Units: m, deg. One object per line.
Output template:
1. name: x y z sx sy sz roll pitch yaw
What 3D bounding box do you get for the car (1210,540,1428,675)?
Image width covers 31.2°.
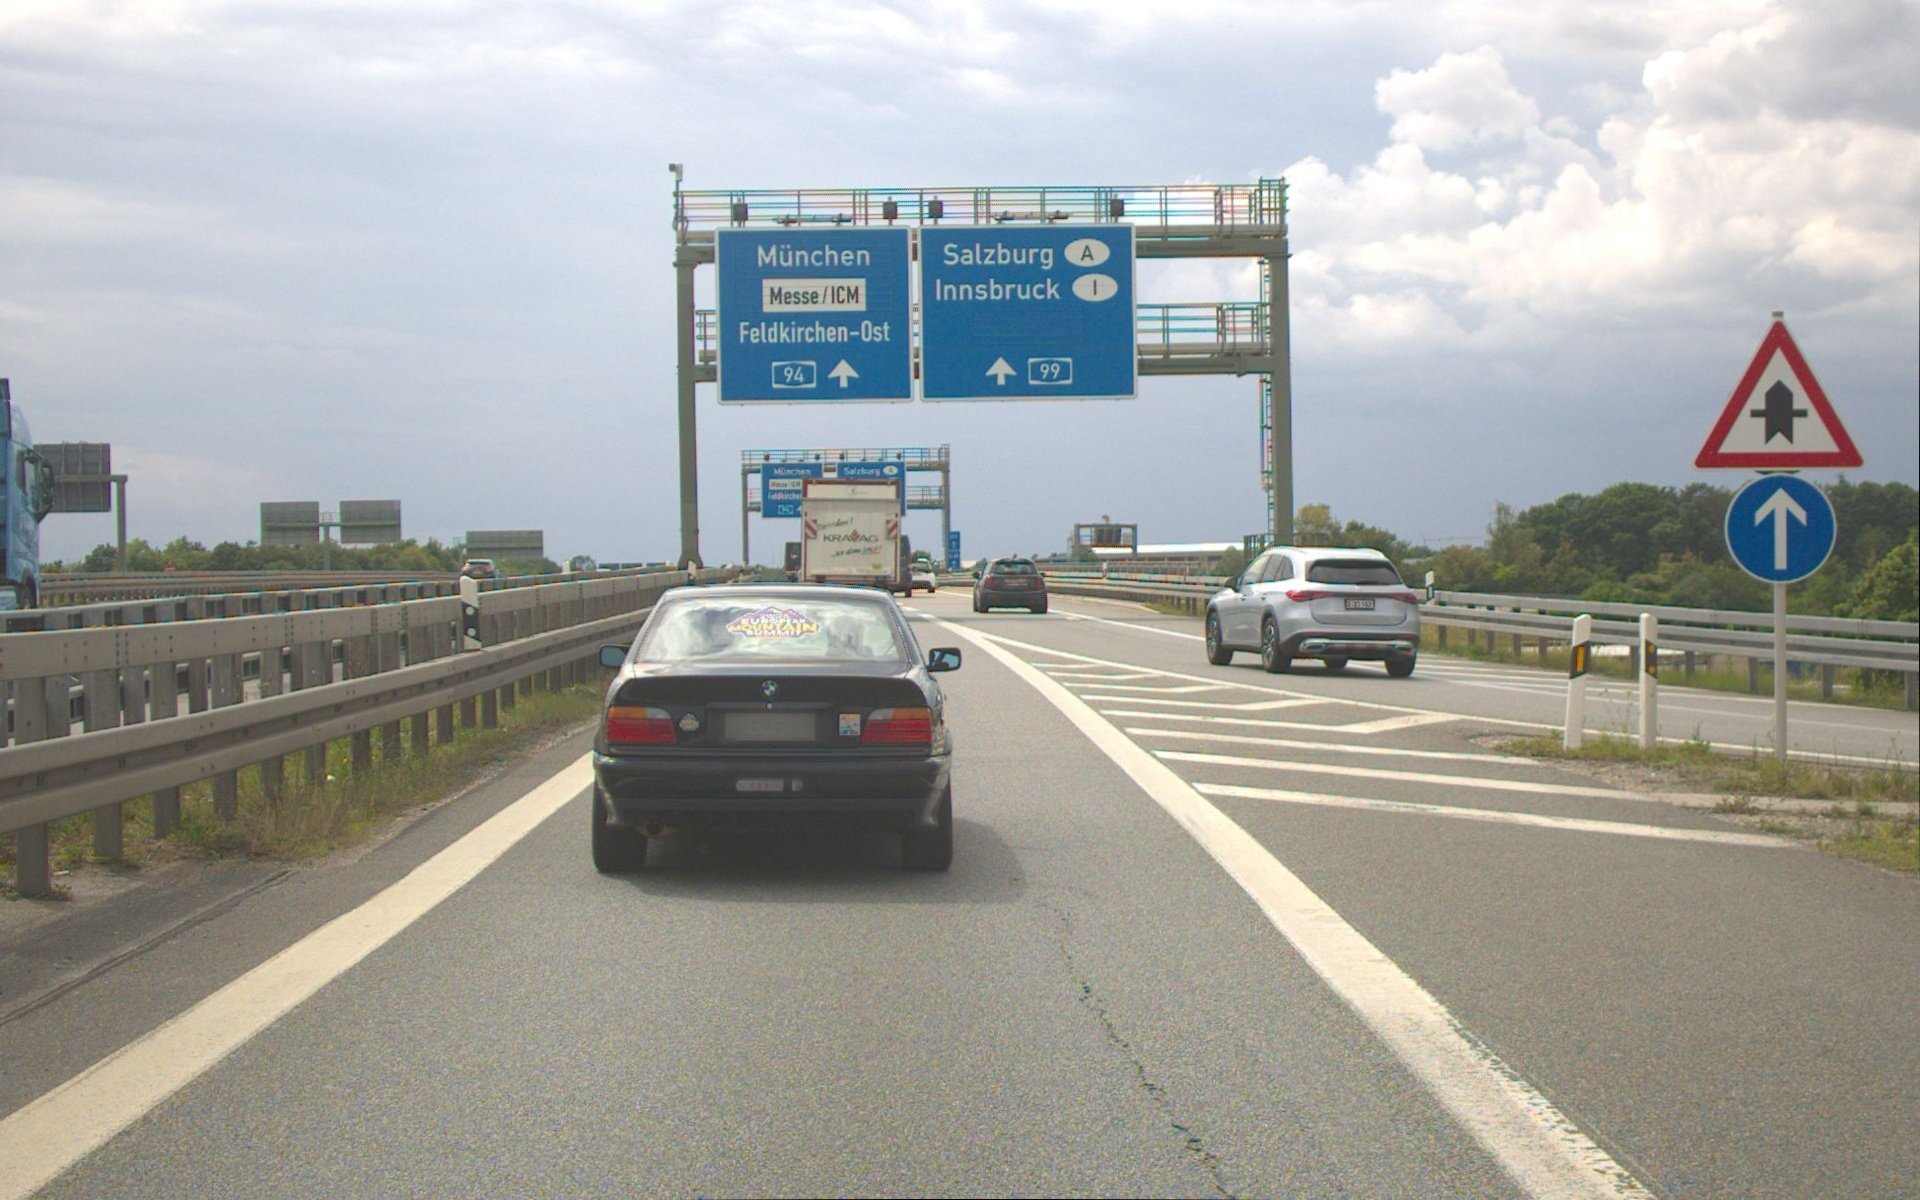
1. car: 4.623 0.056 44.908 1.935 1.679 4.210 0 1 -7

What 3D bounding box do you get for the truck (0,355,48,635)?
1. truck: -14.962 -1.472 47.719 3.246 3.898 6.611 1 1 -4

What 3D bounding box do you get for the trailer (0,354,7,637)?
1. trailer: -14.553 -1.388 41.635 3.236 3.911 12.382 1 1 -3

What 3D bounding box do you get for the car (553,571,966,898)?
1. car: -0.929 0.567 17.013 1.782 1.373 4.137 1 1 -2

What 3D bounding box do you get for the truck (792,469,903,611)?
1. truck: -2.551 -1.377 78.527 2.404 3.079 6.371 0 1 -2

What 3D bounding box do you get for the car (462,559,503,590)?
1. car: -25.635 -1.376 184.614 1.892 1.592 4.418 0 1 -5

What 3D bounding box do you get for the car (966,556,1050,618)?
1. car: 1.221 -0.352 88.826 1.993 1.546 4.000 1 1 -1
